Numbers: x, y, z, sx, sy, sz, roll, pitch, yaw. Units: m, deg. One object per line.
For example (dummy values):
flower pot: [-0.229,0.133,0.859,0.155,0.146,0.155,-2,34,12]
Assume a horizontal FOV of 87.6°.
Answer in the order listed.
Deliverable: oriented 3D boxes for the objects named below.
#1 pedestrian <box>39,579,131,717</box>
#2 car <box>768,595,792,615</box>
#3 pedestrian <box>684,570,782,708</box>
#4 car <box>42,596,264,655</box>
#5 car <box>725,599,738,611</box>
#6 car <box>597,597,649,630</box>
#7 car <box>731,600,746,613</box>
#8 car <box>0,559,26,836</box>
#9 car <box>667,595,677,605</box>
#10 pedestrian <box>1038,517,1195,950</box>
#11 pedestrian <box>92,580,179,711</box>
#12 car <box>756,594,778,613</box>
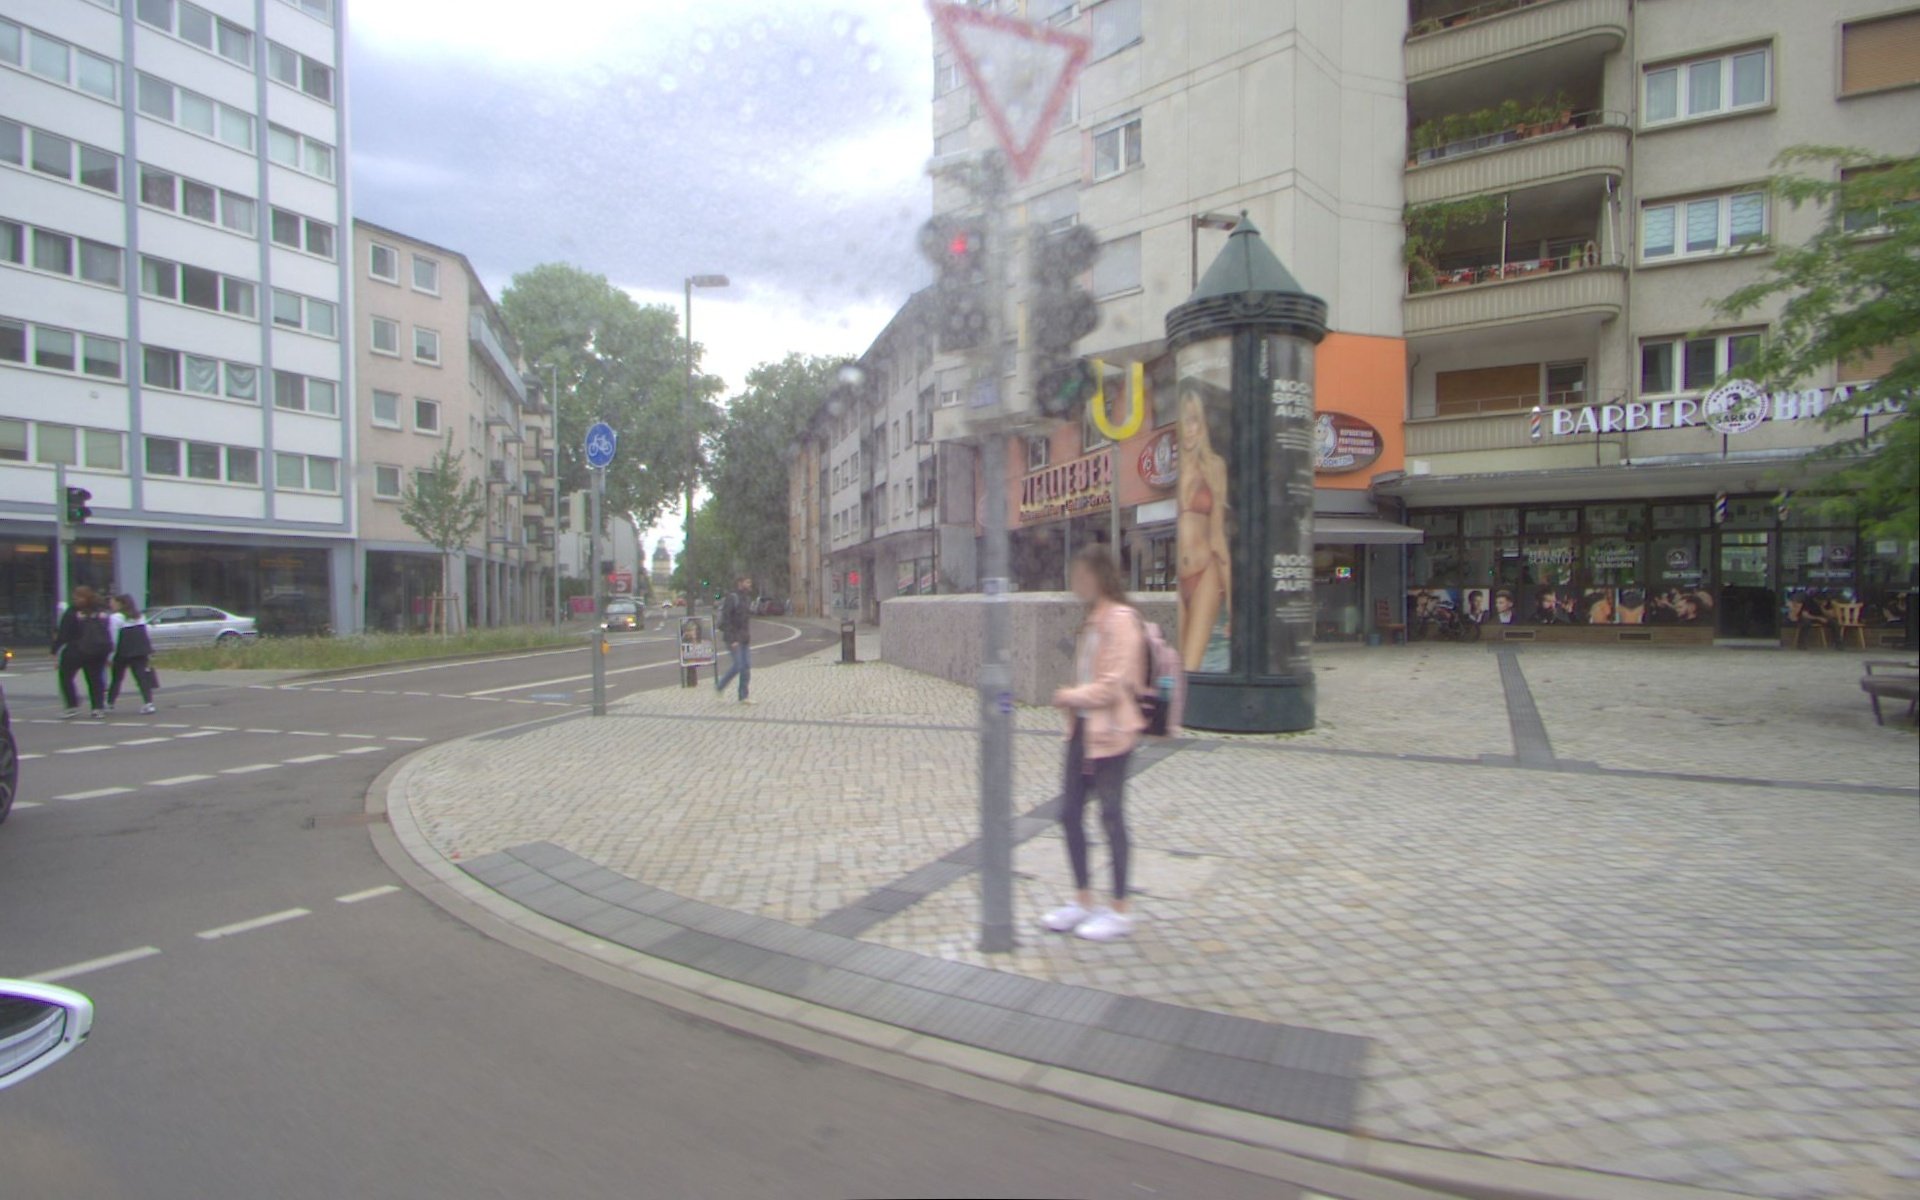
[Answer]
pedestrian: [-11.710,0.625,13.410,0.766,1.784,0.622,0,0,20]
car: [-16.547,0.427,91.840,1.836,1.798,3.976,1,0,-15]
pedestrian: [-3.272,0.528,14.423,1.138,1.888,0.799,0,2,38]
car: [-22.511,0.651,28.159,1.720,1.501,4.551,0,1,25]
car: [-35.520,0.717,155.889,1.836,1.798,3.976,1,0,-15]
car: [-16.356,0.610,48.788,1.715,1.501,4.563,-1,0,-10]
car: [-31.107,0.873,140.740,1.836,1.798,3.976,1,0,-15]
car: [-6.454,0.611,5.299,1.848,1.798,4.530,1,-1,-39]
car: [-56.824,-0.030,197.417,1.836,1.798,3.976,1,0,-15]
pedestrian: [0.712,0.554,4.481,0.591,1.784,0.523,1,0,20]
pedestrian: [-11.544,0.622,14.027,0.766,1.784,0.622,0,0,20]
car: [-19.174,0.336,99.184,1.836,1.798,3.976,1,0,-15]
